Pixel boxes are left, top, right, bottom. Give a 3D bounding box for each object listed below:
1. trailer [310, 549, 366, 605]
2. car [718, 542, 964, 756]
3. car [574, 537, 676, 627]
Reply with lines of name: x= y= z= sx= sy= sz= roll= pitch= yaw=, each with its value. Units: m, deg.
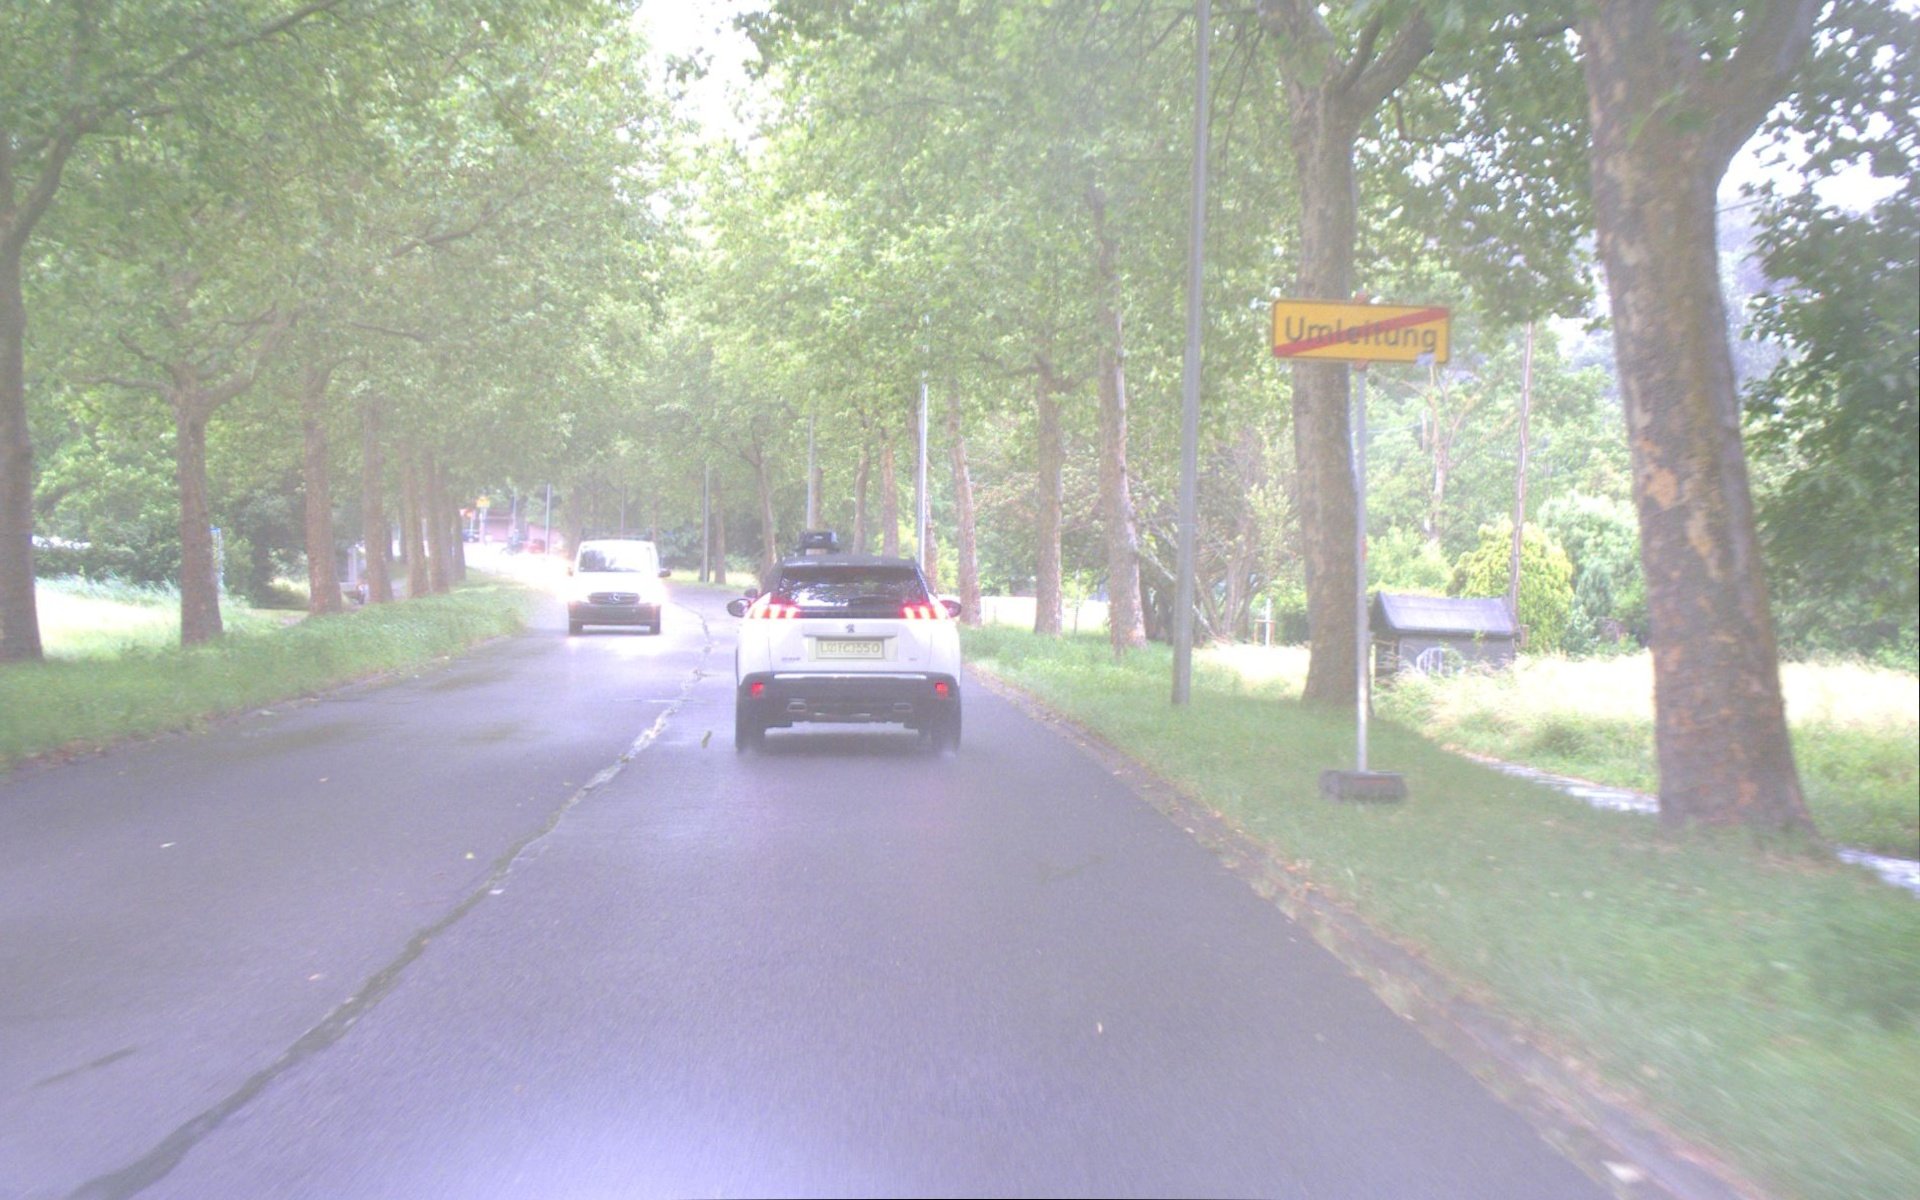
trailer: x=-29.968 y=-1.126 z=165.764 sx=2.484 sy=2.558 sz=5.334 roll=2 pitch=1 yaw=-9
car: x=-0.903 y=0.338 z=27.977 sx=1.794 sy=1.573 sz=3.844 roll=2 pitch=1 yaw=0
car: x=-6.901 y=-0.394 z=71.278 sx=1.862 sy=1.744 sz=5.016 roll=2 pitch=1 yaw=-3
